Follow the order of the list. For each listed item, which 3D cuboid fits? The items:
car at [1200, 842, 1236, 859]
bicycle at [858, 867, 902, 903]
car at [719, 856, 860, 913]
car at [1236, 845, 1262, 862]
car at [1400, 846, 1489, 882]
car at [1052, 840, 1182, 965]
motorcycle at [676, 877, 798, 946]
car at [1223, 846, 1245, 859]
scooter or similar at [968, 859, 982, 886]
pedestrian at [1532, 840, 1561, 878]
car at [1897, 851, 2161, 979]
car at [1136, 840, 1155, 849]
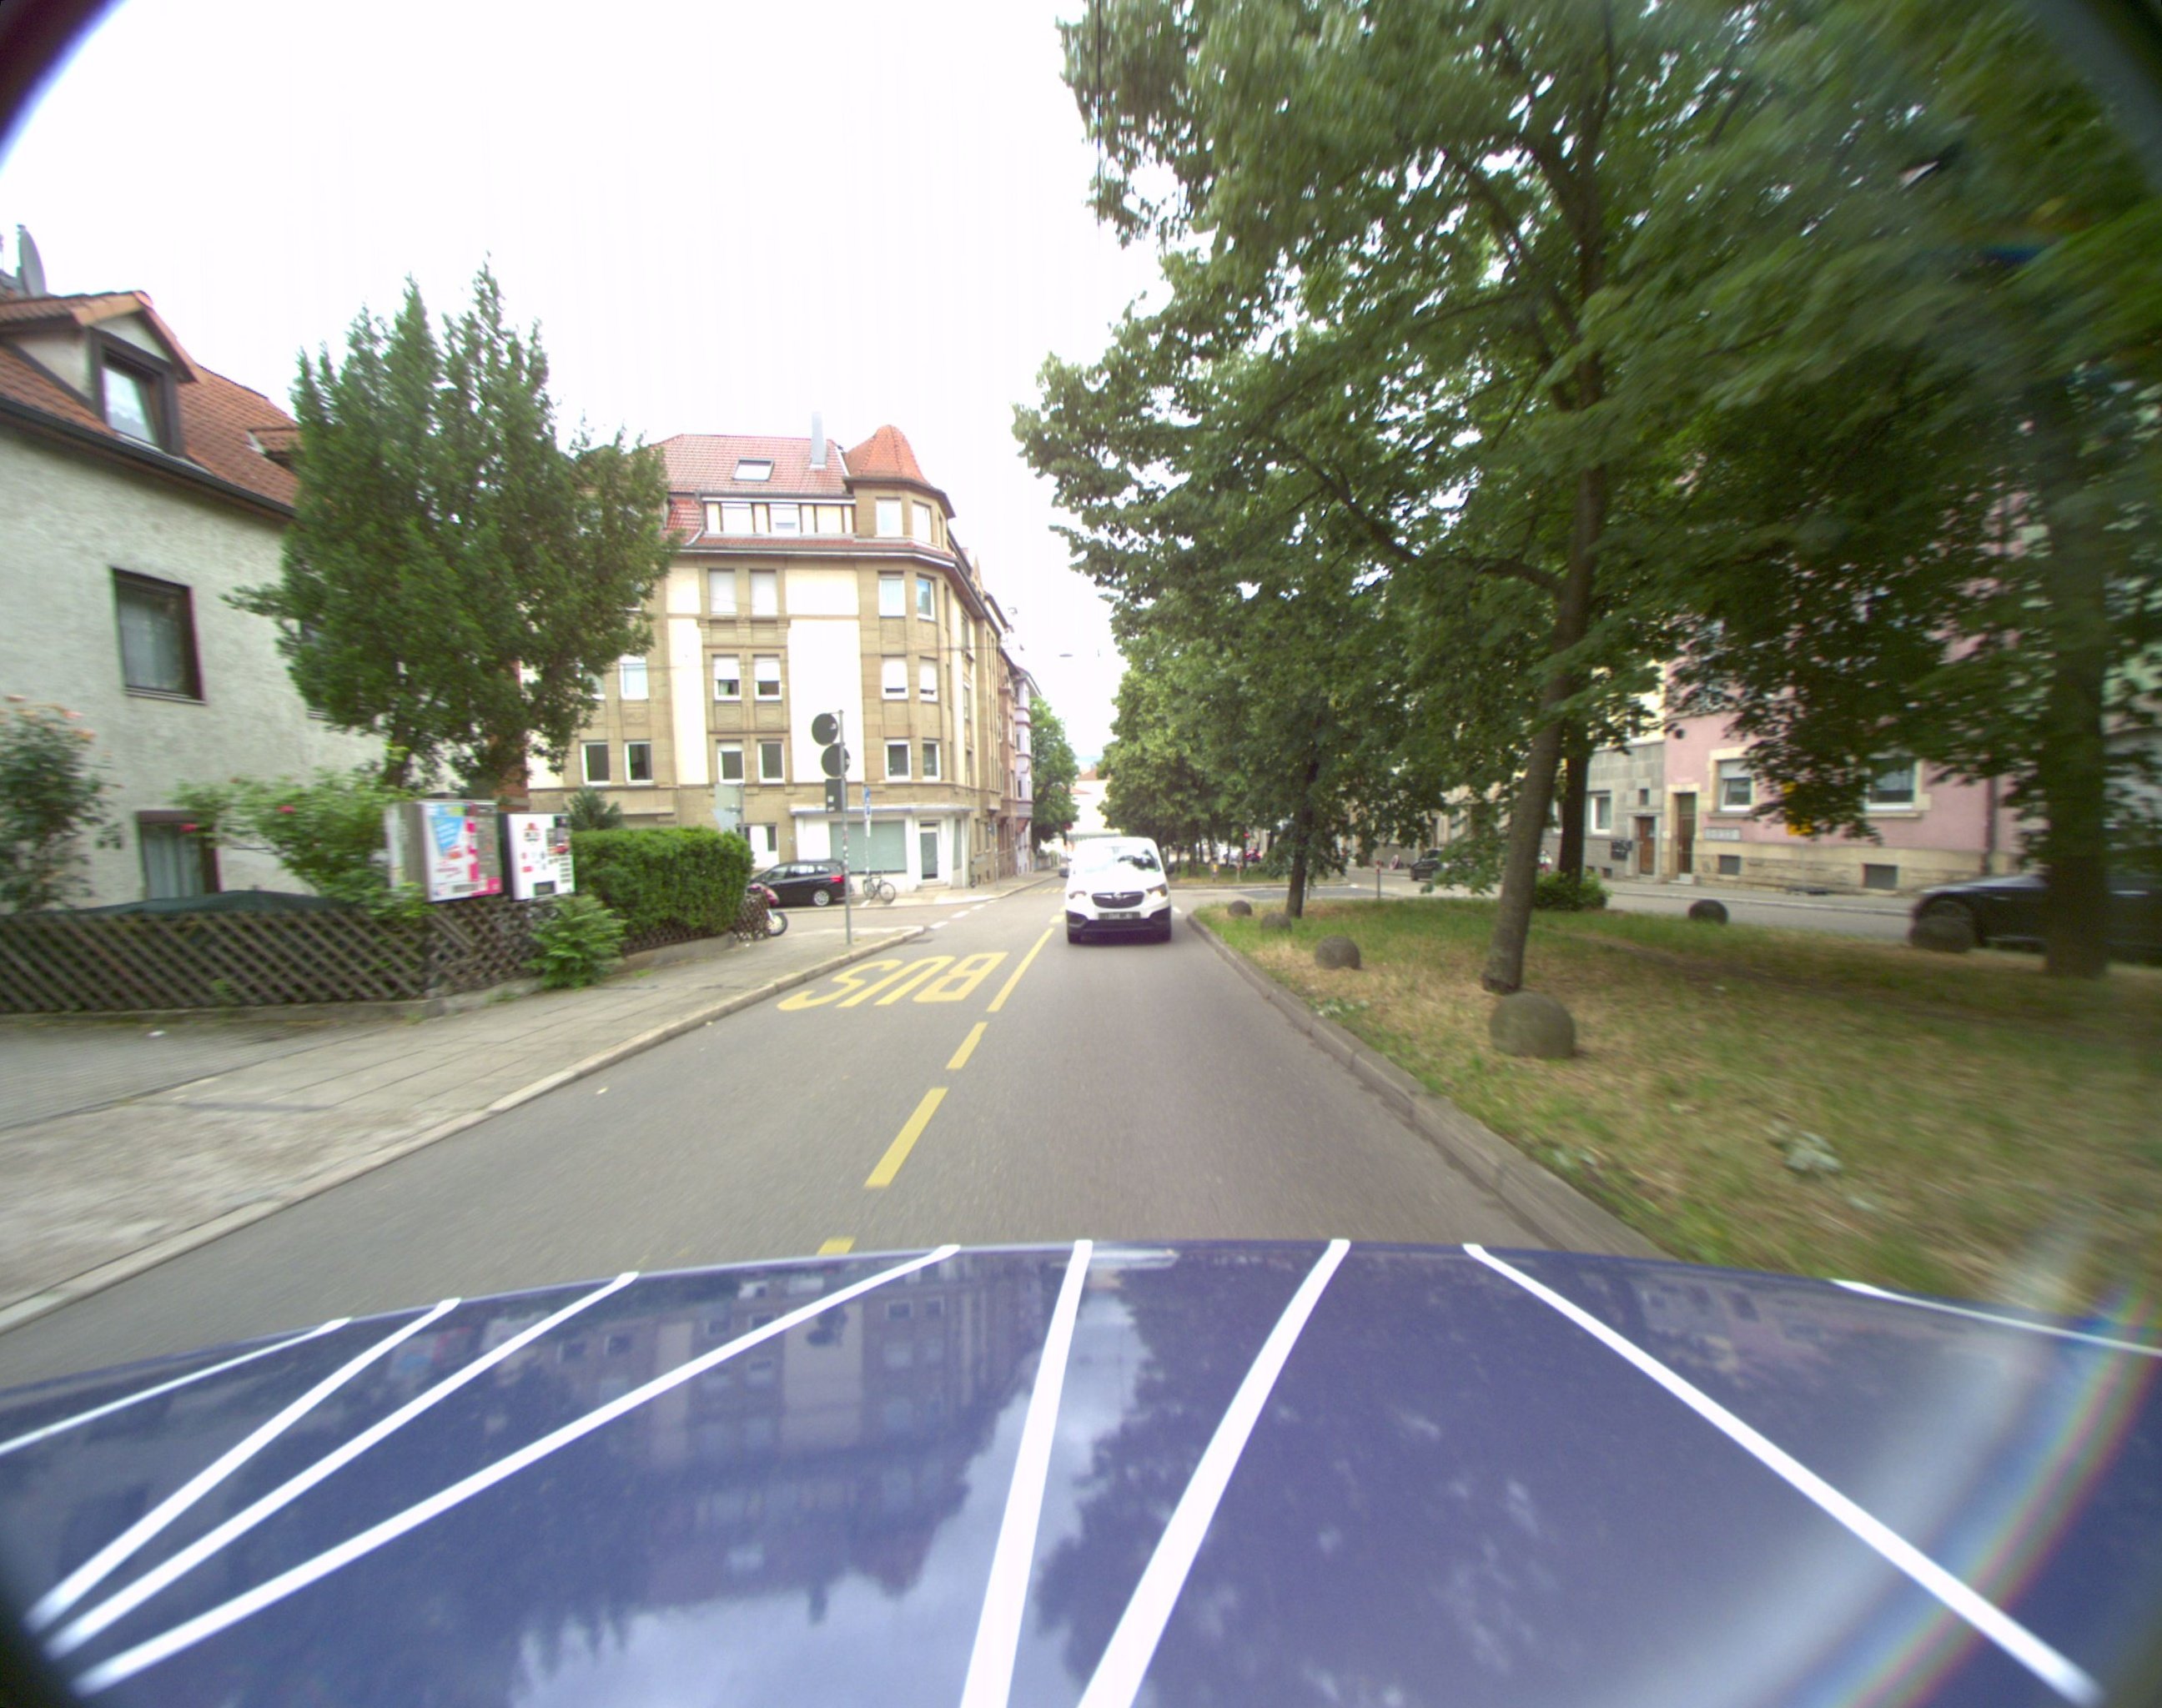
[{"bbox_3d":[18.430,-0.468,102.190,4.258,2.003,2.003,-1,3,33],"label":"car"},{"bbox_3d":[-7.504,1.138,28.329,0.642,1.134,2.068,-7,8,-42],"label":"bicycle"},{"bbox_3d":[-10.422,1.065,27.485,4.377,1.638,1.783,-3,5,-9],"label":"car"},{"bbox_3d":[17.695,-0.080,80.298,1.820,1.627,4.678,0,1,1],"label":"car"},{"bbox_3d":[15.133,0.413,31.932,1.712,1.374,4.669,0,0,3],"label":"car"},{"bbox_3d":[0.702,0.685,13.587,1.857,1.799,4.729,-2,1,4],"label":"car"},{"bbox_3d":[-7.254,1.199,16.128,2.061,1.260,1.010,-3,1,-2],"label":"motorcycle"},{"bbox_3d":[17.754,-0.158,88.209,1.673,1.398,4.294,-1,0,-1],"label":"car"},{"bbox_3d":[-4.788,0.840,34.396,0.411,1.202,1.146,1,-2,2],"label":"scooter or similar"},{"bbox_3d":[18.428,0.182,30.102,0.700,1.452,0.704,-2,0,3],"label":"pedestrian"},{"bbox_3d":[12.519,0.657,8.580,1.762,1.374,4.669,0,0,3],"label":"car"},{"bbox_3d":[11.903,-1.758,140.125,2.207,1.563,4.483,-1,3,24],"label":"car"}]
